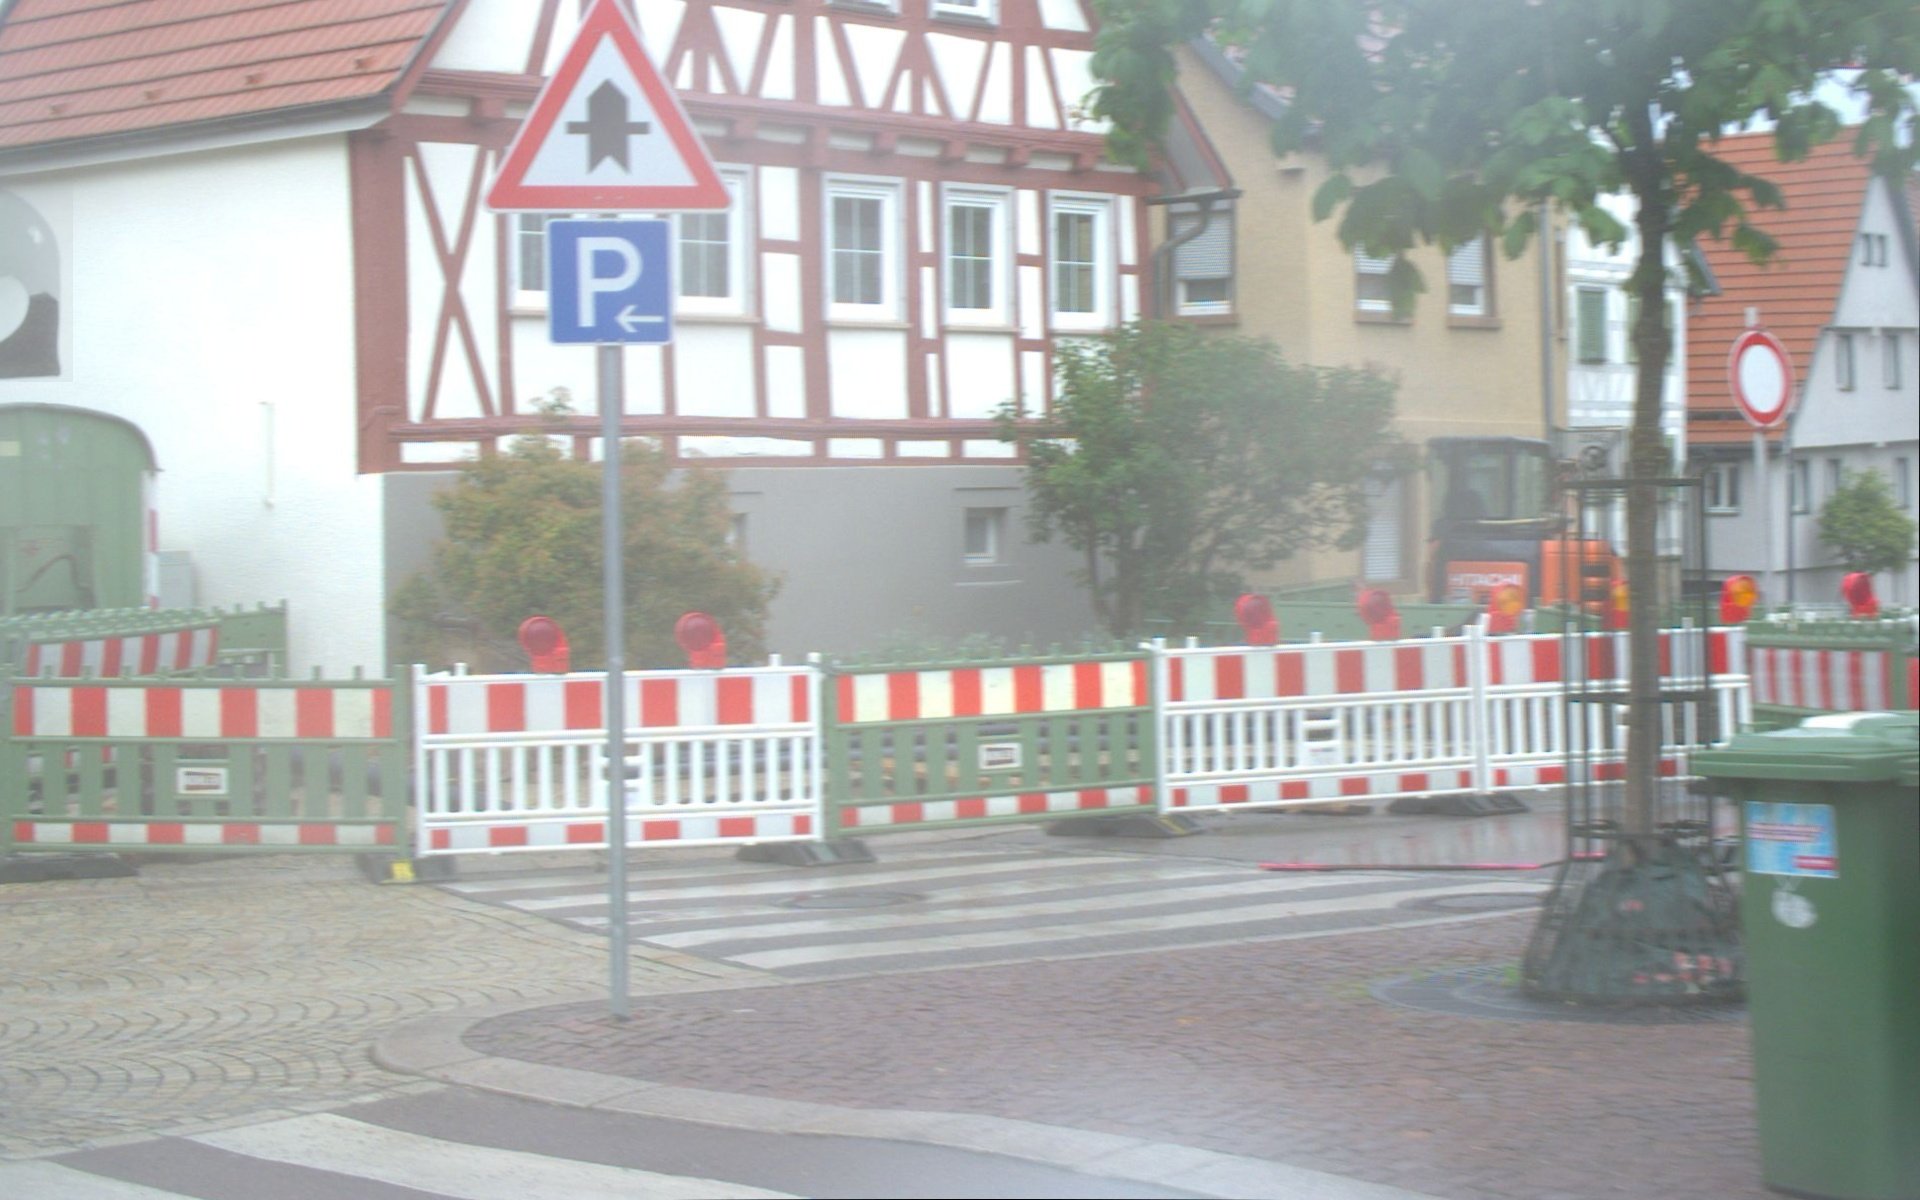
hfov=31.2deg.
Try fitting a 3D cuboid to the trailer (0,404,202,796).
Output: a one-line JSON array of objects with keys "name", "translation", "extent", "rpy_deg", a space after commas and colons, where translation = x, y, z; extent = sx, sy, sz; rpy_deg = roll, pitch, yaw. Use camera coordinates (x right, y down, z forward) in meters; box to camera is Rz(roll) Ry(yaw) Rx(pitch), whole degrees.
[{"name": "trailer", "translation": [-8.321, -0.063, 26.677], "extent": [4.628, 2.827, 2.486], "rpy_deg": [2, 2, 41]}]

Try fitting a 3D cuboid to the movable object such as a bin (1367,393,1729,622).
[{"name": "movable object such as a bin", "translation": [5.655, -0.841, 32.718], "extent": [1.908, 2.007, 3.992], "rpy_deg": [-1, 0, 34]}]

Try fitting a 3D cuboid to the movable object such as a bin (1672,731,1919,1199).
[{"name": "movable object such as a bin", "translation": [1.985, 0.819, 7.627], "extent": [0.570, 1.033, 0.542], "rpy_deg": [0, -1, -32]}]

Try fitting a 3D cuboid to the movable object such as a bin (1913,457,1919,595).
[{"name": "movable object such as a bin", "translation": [16.096, -1.054, 50.539], "extent": [3.407, 2.007, 3.474], "rpy_deg": [1, 1, 26]}]

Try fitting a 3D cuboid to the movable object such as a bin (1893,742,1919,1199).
[{"name": "movable object such as a bin", "translation": [2.320, 0.808, 7.075], "extent": [0.533, 1.029, 0.545], "rpy_deg": [0, -1, -32]}]
